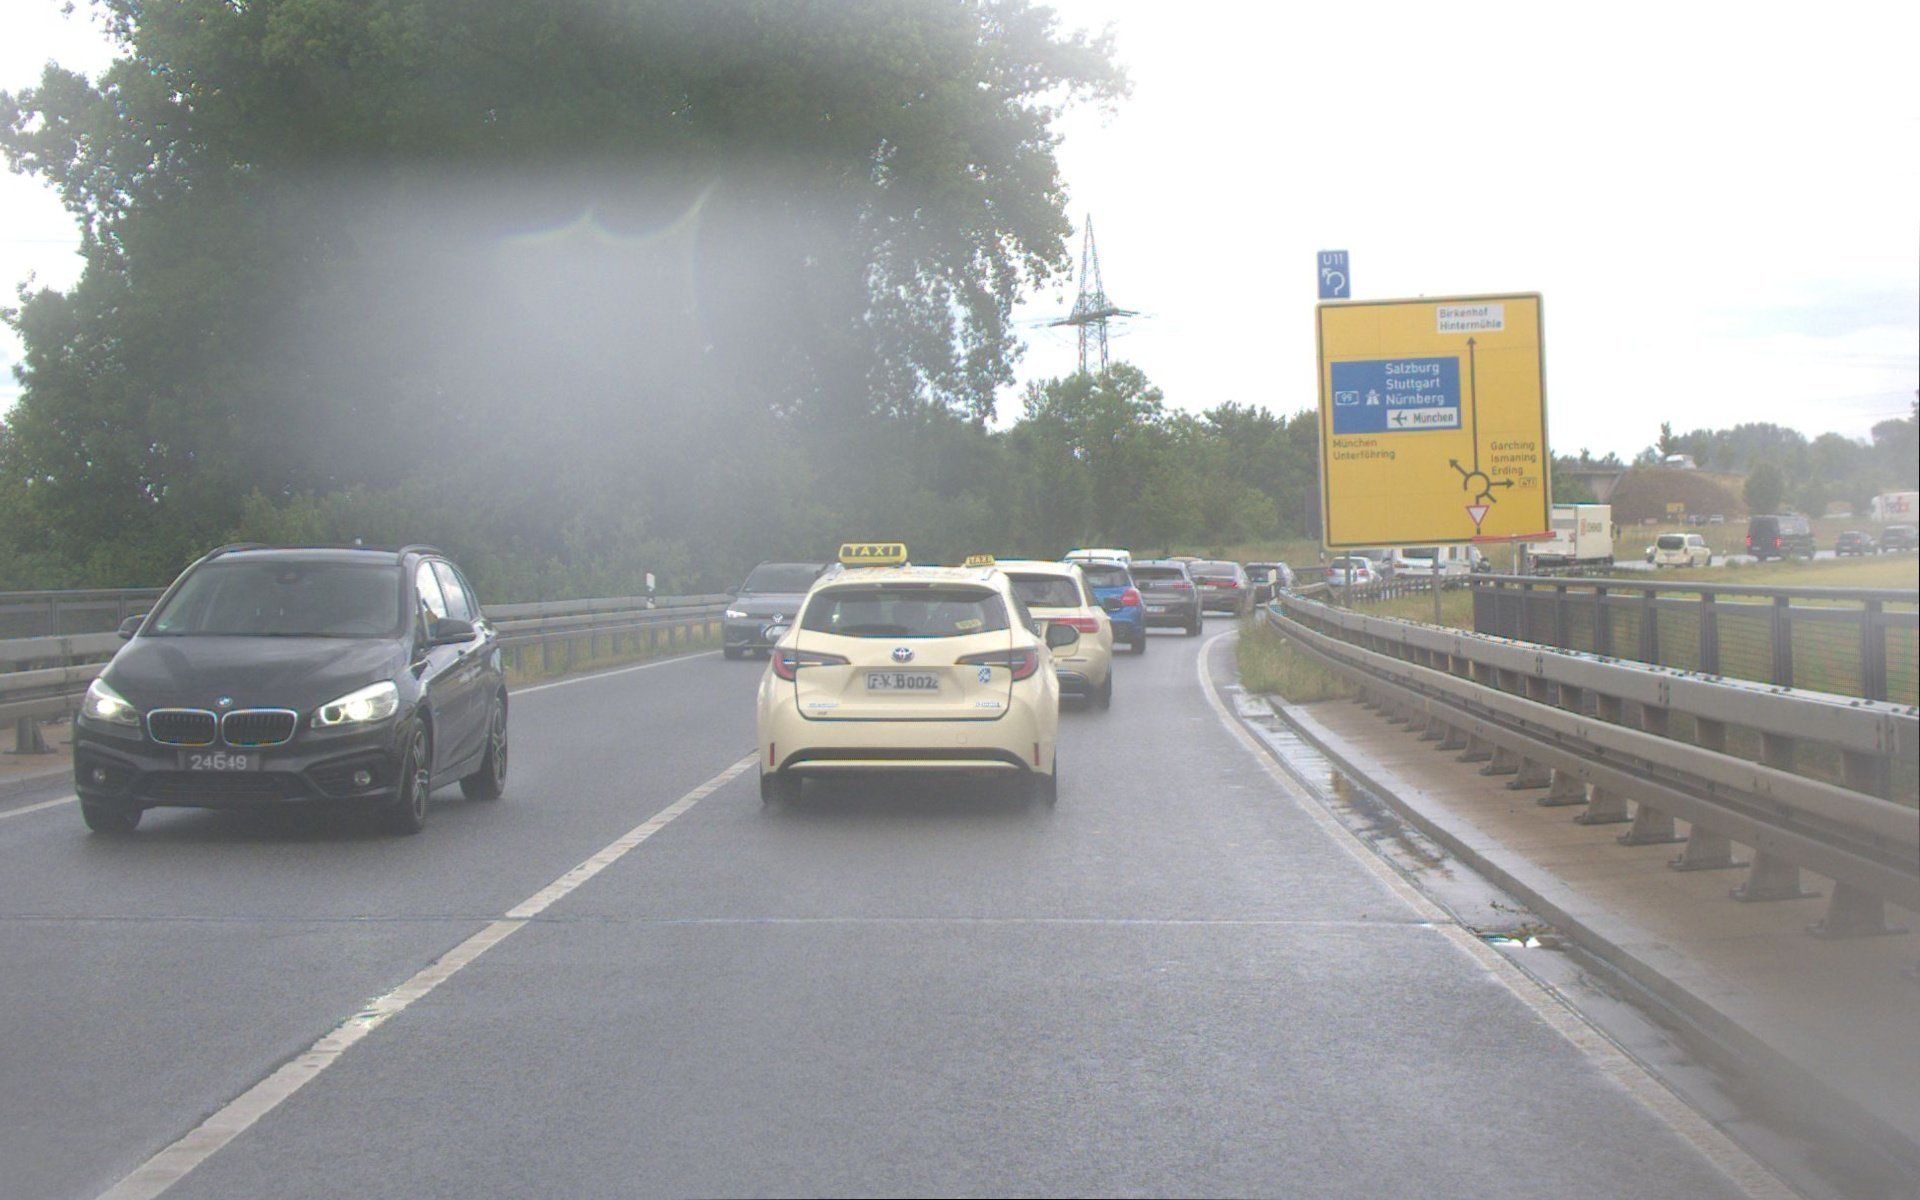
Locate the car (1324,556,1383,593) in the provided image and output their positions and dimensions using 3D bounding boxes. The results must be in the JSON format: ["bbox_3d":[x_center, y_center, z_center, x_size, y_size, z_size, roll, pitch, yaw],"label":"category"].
[{"bbox_3d":[14.263,-0.920,124.637,1.484,1.304,3.474,0,0,18],"label":"car"}]

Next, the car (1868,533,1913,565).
[{"bbox_3d":[60.093,-3.277,222.004,1.996,2.007,3.994,0,0,27],"label":"car"}]

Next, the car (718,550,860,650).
[{"bbox_3d":[-2.531,-0.014,51.763,1.835,1.438,4.103,0,0,1],"label":"car"}]

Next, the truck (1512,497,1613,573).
[{"bbox_3d":[29.382,-3.120,167.481,3.144,3.550,7.512,0,0,23],"label":"truck"}]

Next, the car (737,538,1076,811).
[{"bbox_3d":[-0.294,0.403,21.455,1.906,1.532,4.161,0,0,0],"label":"car"}]

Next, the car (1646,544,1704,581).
[{"bbox_3d":[39.033,-2.043,187.551,2.169,2.007,3.994,0,0,26],"label":"car"}]

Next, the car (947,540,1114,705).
[{"bbox_3d":[0.745,0.201,34.595,1.578,1.567,3.681,0,0,2],"label":"car"}]

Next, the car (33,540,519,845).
[{"bbox_3d":[-3.756,0.440,19.577,1.899,1.536,4.023,0,1,1],"label":"car"}]

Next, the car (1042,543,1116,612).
[{"bbox_3d":[3.405,-0.662,97.706,1.862,1.885,4.489,0,1,5],"label":"car"}]

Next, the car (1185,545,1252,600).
[{"bbox_3d":[6.933,-0.713,91.965,1.660,1.404,3.903,0,0,6],"label":"car"}]

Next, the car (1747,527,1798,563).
[{"bbox_3d":[47.869,-3.240,202.554,1.996,2.007,3.994,0,0,28],"label":"car"}]

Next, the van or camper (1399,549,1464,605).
[{"bbox_3d":[19.248,-0.939,140.232,1.995,2.246,3.996,0,0,17],"label":"van or camper"}]

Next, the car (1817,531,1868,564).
[{"bbox_3d":[55.188,-3.265,214.933,2.229,2.007,3.994,0,0,27],"label":"car"}]

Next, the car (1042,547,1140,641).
[{"bbox_3d":[2.067,-0.107,54.827,1.506,1.432,3.355,0,0,1],"label":"car"}]

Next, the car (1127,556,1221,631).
[{"bbox_3d":[4.305,-0.146,68.859,1.665,1.459,3.476,0,0,7],"label":"car"}]

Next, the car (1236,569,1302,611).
[{"bbox_3d":[9.646,-0.320,107.181,1.483,1.304,3.474,0,0,15],"label":"car"}]

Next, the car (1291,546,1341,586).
[{"bbox_3d":[15.803,-1.504,152.564,1.518,1.715,3.417,0,0,18],"label":"car"}]
